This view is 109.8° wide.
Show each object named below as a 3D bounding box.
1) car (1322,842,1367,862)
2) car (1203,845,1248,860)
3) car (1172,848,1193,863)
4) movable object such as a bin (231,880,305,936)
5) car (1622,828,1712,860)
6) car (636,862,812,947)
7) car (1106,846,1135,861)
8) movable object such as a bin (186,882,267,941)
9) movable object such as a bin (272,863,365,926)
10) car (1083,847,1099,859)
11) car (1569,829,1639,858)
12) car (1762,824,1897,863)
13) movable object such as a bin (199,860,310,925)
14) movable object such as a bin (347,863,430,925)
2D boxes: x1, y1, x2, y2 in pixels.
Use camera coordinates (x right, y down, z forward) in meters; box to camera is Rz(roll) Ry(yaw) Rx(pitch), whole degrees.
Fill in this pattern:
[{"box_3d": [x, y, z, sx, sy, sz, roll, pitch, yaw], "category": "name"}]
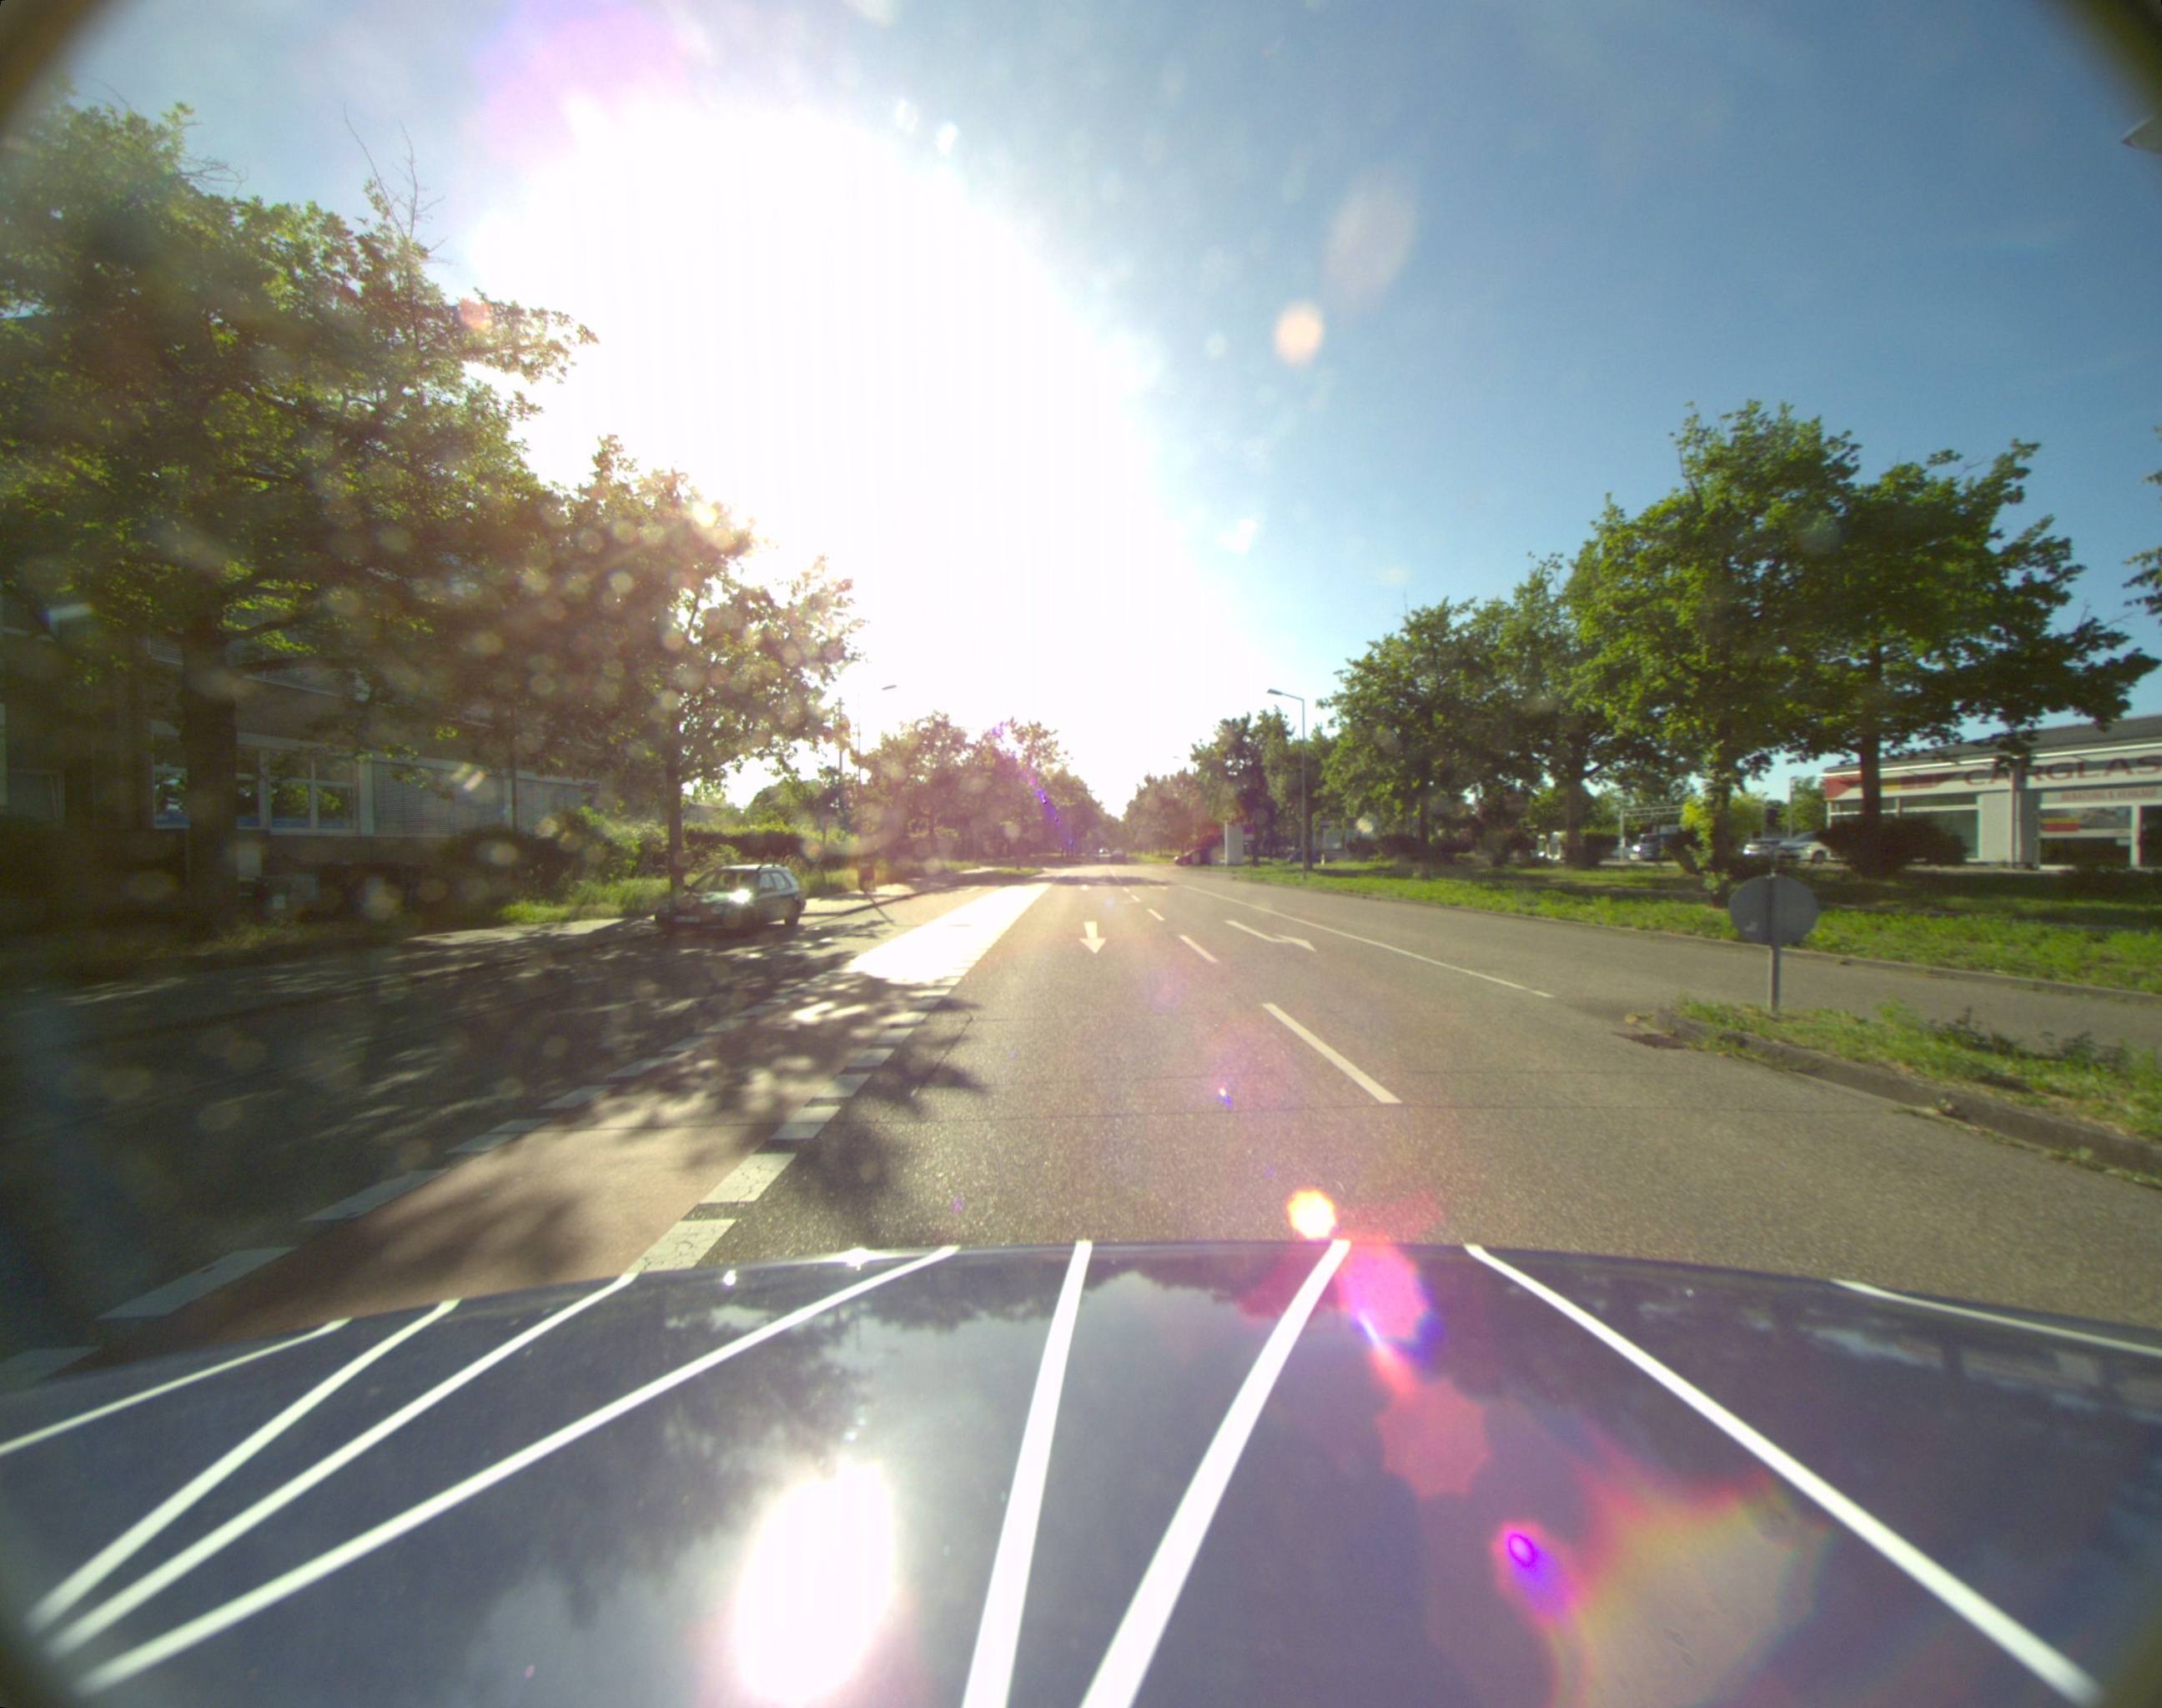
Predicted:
[{"box_3d": [26.851, -0.240, 77.494, 3.994, 2.002, 2.001, 0, 1, 8], "category": "car"}, {"box_3d": [14.187, -0.144, 74.886, 4.210, 1.477, 1.778, -1, 1, 5], "category": "car"}, {"box_3d": [10.133, 0.119, 75.922, 1.776, 1.477, 4.215, 1, 1, 3], "category": "car"}, {"box_3d": [-16.174, 1.063, 15.137, 0.687, 1.036, 0.695, -1, 1, 0], "category": "movable object such as a bin"}, {"box_3d": [39.079, -0.654, 50.765, 4.491, 1.934, 1.997, -2, 1, -1], "category": "car"}, {"box_3d": [-7.468, 0.972, 16.407, 1.776, 1.477, 4.214, 1, 1, 1], "category": "car"}, {"box_3d": [4.507, -0.068, 85.874, 1.995, 1.674, 4.006, 0, 1, 23], "category": "car"}, {"box_3d": [-16.190, 1.084, 14.417, 0.687, 1.036, 0.695, -2, 1, 0], "category": "movable object such as a bin"}, {"box_3d": [-16.987, 0.887, 16.953, 1.208, 1.333, 0.796, -1, 1, 0], "category": "movable object such as a bin"}, {"box_3d": [1.271, -0.190, 96.745, 1.776, 1.477, 3.781, 1, 1, 4], "category": "car"}, {"box_3d": [40.214, -0.811, 58.516, 4.212, 2.204, 1.777, -1, 1, -2], "category": "car"}, {"box_3d": [34.035, -0.472, 34.632, 4.239, 1.578, 1.997, -2, 1, -1], "category": "car"}, {"box_3d": [-18.445, 0.840, 16.990, 1.470, 1.371, 0.879, -1, 1, 0], "category": "movable object such as a bin"}, {"box_3d": [-15.508, 0.881, 17.047, 1.089, 1.314, 0.796, -1, 1, 0], "category": "movable object such as a bin"}]
